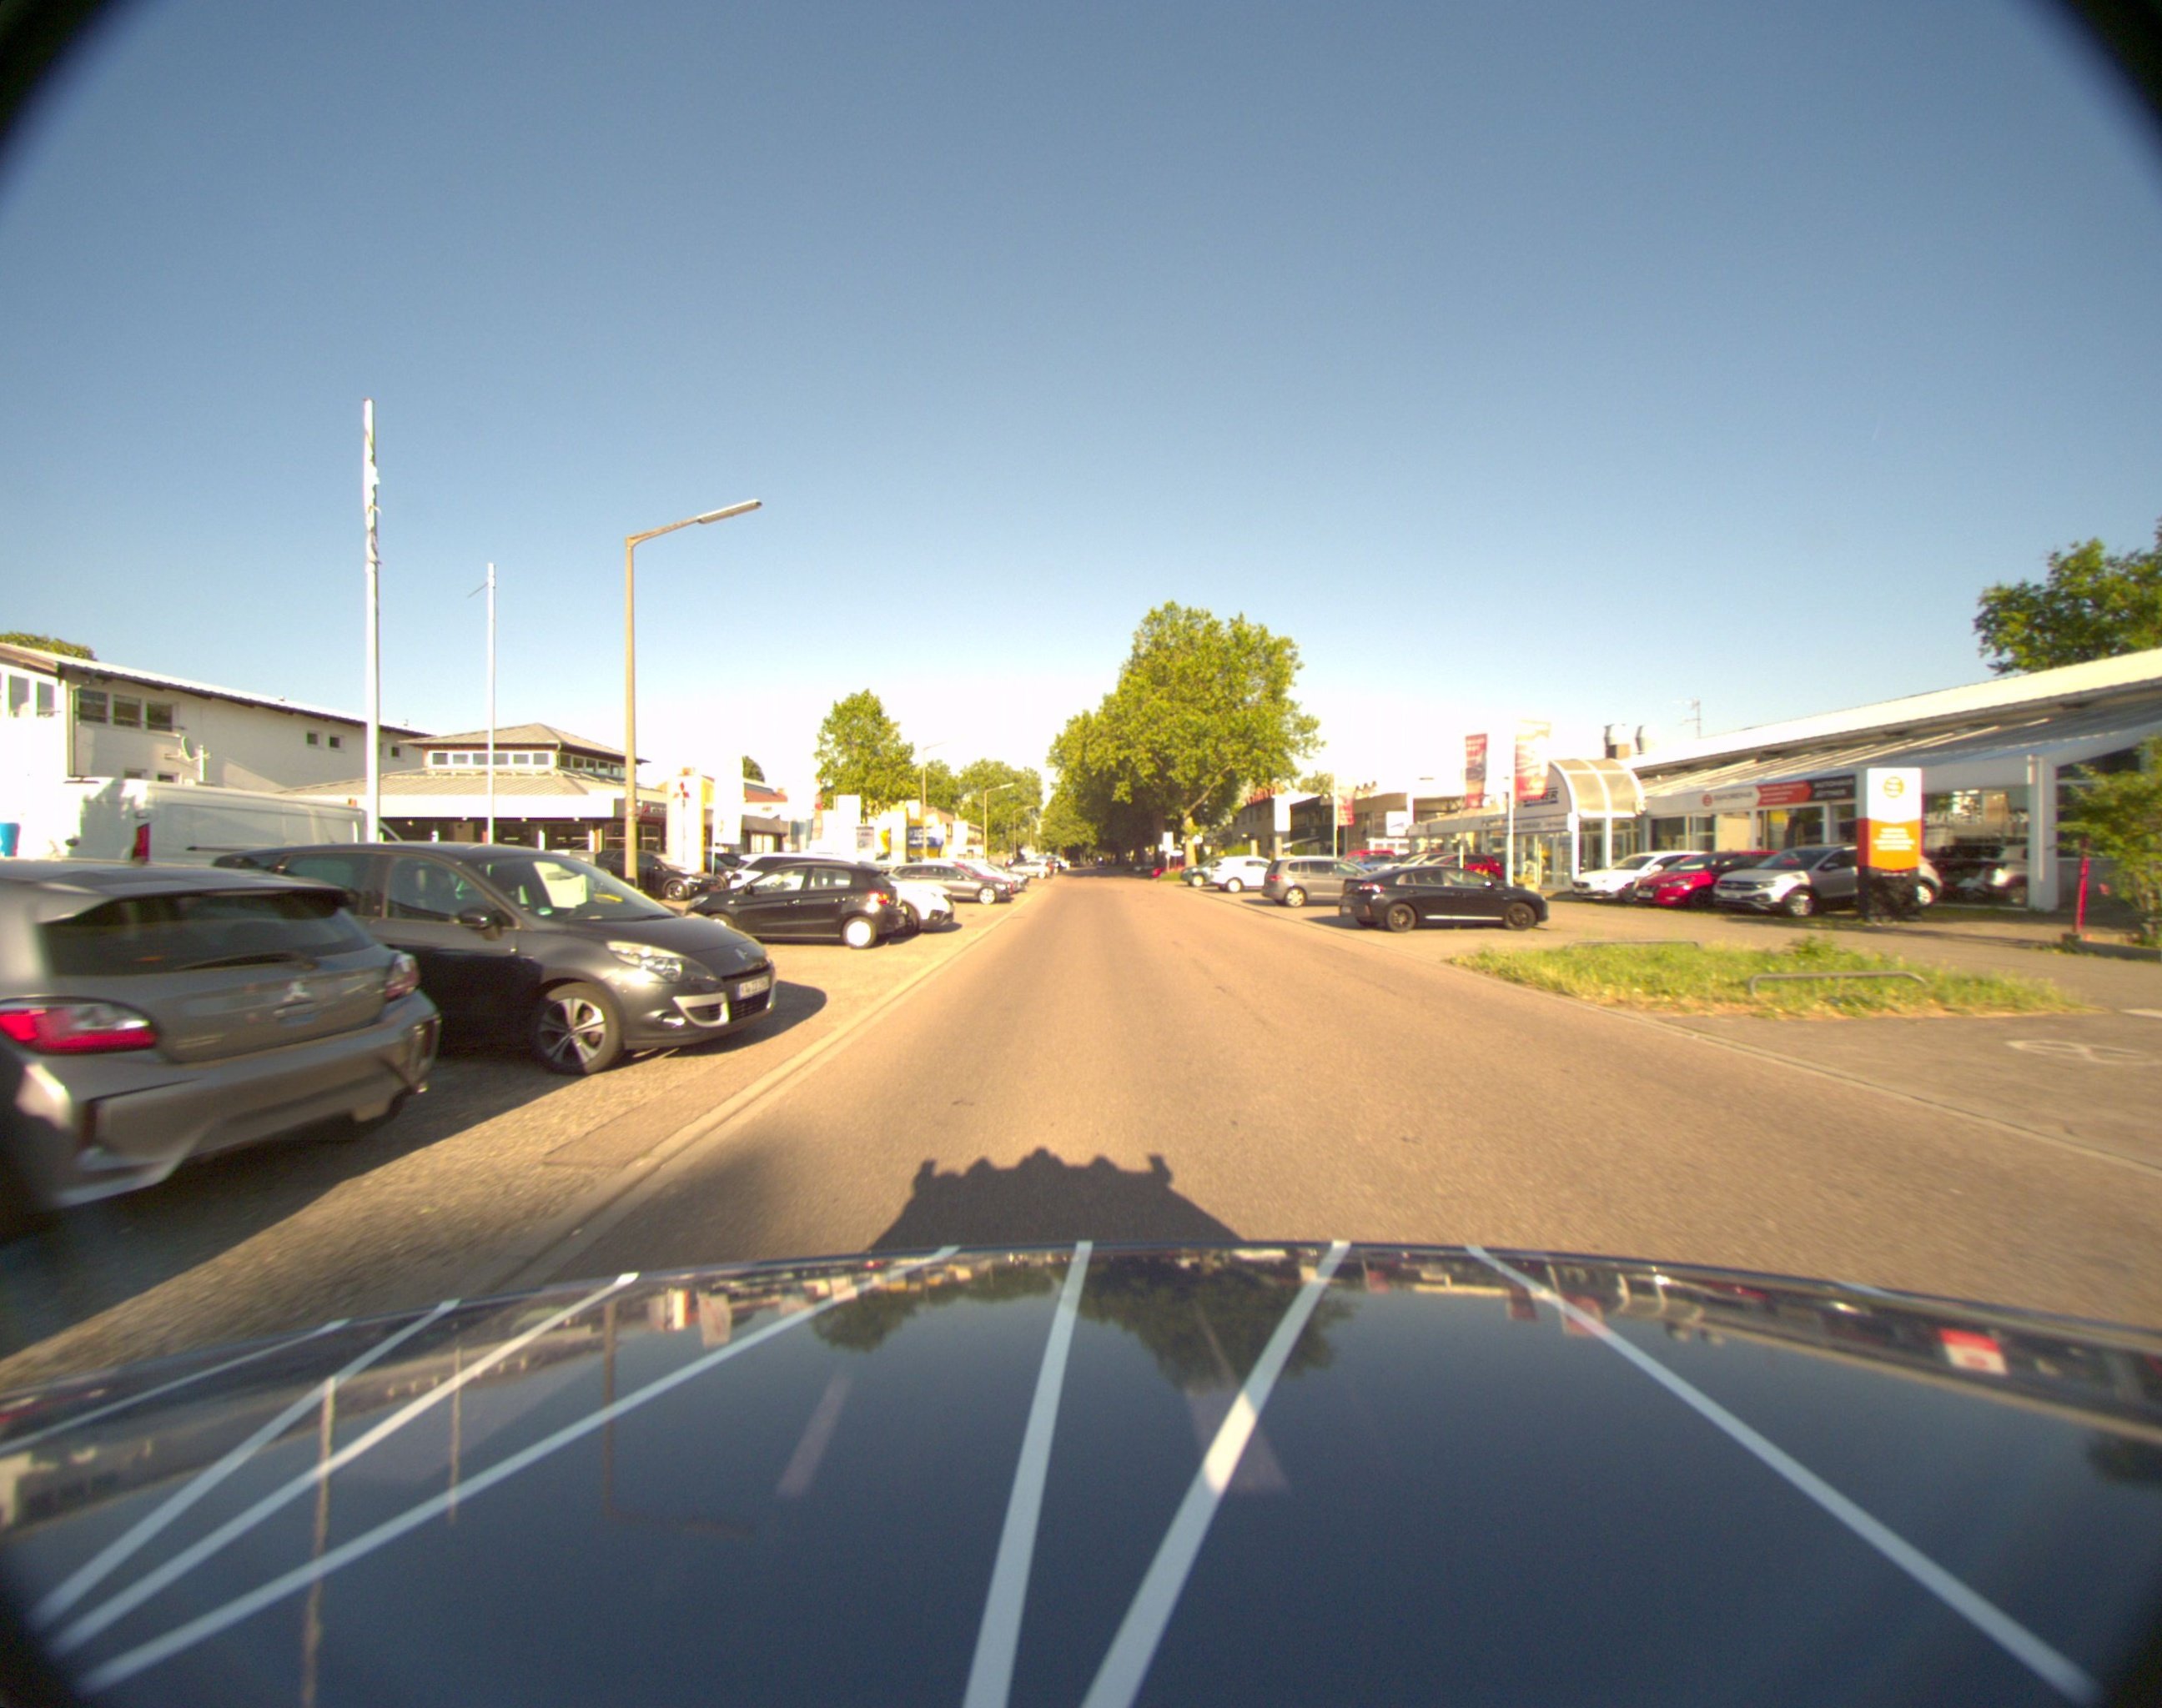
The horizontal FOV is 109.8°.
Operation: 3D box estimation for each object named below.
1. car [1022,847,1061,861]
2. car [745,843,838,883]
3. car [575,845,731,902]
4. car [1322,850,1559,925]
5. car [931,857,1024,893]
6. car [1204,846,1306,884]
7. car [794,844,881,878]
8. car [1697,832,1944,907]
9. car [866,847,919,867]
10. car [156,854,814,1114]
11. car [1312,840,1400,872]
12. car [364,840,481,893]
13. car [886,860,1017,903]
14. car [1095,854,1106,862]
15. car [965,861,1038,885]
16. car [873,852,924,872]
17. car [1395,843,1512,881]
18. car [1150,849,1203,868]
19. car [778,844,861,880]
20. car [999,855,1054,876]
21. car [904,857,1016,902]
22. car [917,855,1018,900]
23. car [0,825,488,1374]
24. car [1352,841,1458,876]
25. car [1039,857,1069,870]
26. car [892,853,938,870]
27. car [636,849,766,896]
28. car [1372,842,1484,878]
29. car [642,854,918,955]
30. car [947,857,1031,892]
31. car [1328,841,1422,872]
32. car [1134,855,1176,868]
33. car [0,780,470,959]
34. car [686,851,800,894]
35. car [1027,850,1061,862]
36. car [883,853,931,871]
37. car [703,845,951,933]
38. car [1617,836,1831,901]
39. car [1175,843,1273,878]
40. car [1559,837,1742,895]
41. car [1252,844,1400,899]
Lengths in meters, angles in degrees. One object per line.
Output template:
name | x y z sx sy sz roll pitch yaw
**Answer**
car | -7.353 0.034 142.304 6.990 2.644 2.136 0 0 10
car | -14.468 0.440 38.134 3.912 1.888 1.786 -1 3 0
car | -14.448 0.628 25.825 4.154 1.761 2.000 1 1 0
car | 8.009 0.707 17.246 4.325 1.451 2.201 -2 1 -3
car | -4.733 0.954 35.180 4.120 1.608 2.058 0 1 -4
car | 8.252 0.509 36.378 4.314 1.646 2.201 -2 1 -3
car | -14.877 0.397 46.611 4.507 1.888 2.201 -2 1 0
car | 17.122 0.341 17.751 3.920 1.547 1.887 -2 1 0
car | -15.723 0.246 63.636 3.998 1.510 1.999 -2 1 -4
car | -4.564 0.861 6.231 3.994 1.604 2.001 1 1 7
car | 17.235 0.101 47.787 4.758 1.809 1.999 -2 1 -1
car | -21.849 0.378 25.414 2.002 1.572 3.868 -2 1 -26
car | -4.722 0.996 28.231 4.448 1.427 2.135 1 1 0
car | 3.759 0.743 146.512 1.843 1.562 3.801 1 1 0
car | -4.661 1.128 44.855 3.996 1.289 1.784 1 1 3
car | -15.872 0.644 66.394 3.998 1.586 1.999 -2 1 -4
car | 17.075 0.343 34.952 4.475 1.544 1.836 -2 1 -1
car | 8.304 0.370 66.188 4.307 1.438 2.000 -2 1 0
car | -14.742 0.478 43.015 3.943 1.886 2.203 -1 -2 0
car | -4.727 0.978 66.334 4.612 1.604 2.000 3 1 0
car | -4.754 0.996 30.344 4.255 1.596 1.745 -2 1 -5
car | -4.826 0.974 32.847 4.120 1.730 1.883 -2 1 -3
car | -5.294 0.704 3.293 3.997 1.643 1.800 3 1 1
car | 17.064 0.221 40.143 4.731 1.633 1.999 -2 1 -1
car | -4.329 1.501 120.612 4.637 1.702 1.999 3 1 -1
car | -15.885 0.700 72.910 3.998 1.488 1.999 -2 1 -4
car | -14.650 0.697 29.427 3.997 1.650 2.000 1 1 0
car | 17.125 0.277 37.624 4.673 1.583 1.928 -2 1 -1
car | -5.338 0.860 13.924 4.259 1.614 1.920 1 1 -1
car | -4.528 0.992 37.719 3.998 1.578 1.867 1 1 -3
car | 17.329 0.145 44.944 4.726 1.624 1.999 -2 1 -1
car | 8.404 0.891 86.268 4.612 1.413 2.000 -1 0 0
car | -15.100 0.203 14.375 1.998 2.610 6.136 -2 1 0
car | -14.538 0.763 32.817 3.997 1.687 2.000 1 1 0
car | -5.212 0.285 106.616 4.637 1.518 1.999 3 1 -1
car | -15.815 0.703 69.277 3.998 1.510 1.952 -2 1 -4
car | -5.263 0.696 16.314 4.567 1.588 2.201 2 1 -3
car | 17.023 0.358 20.280 3.997 1.547 2.000 -2 1 0
car | 8.302 0.355 44.439 5.273 1.888 2.201 -2 1 0
car | 16.961 0.338 22.784 3.997 1.547 2.000 -2 1 0
car | 8.170 0.555 25.663 4.242 1.646 2.201 -2 1 -3
